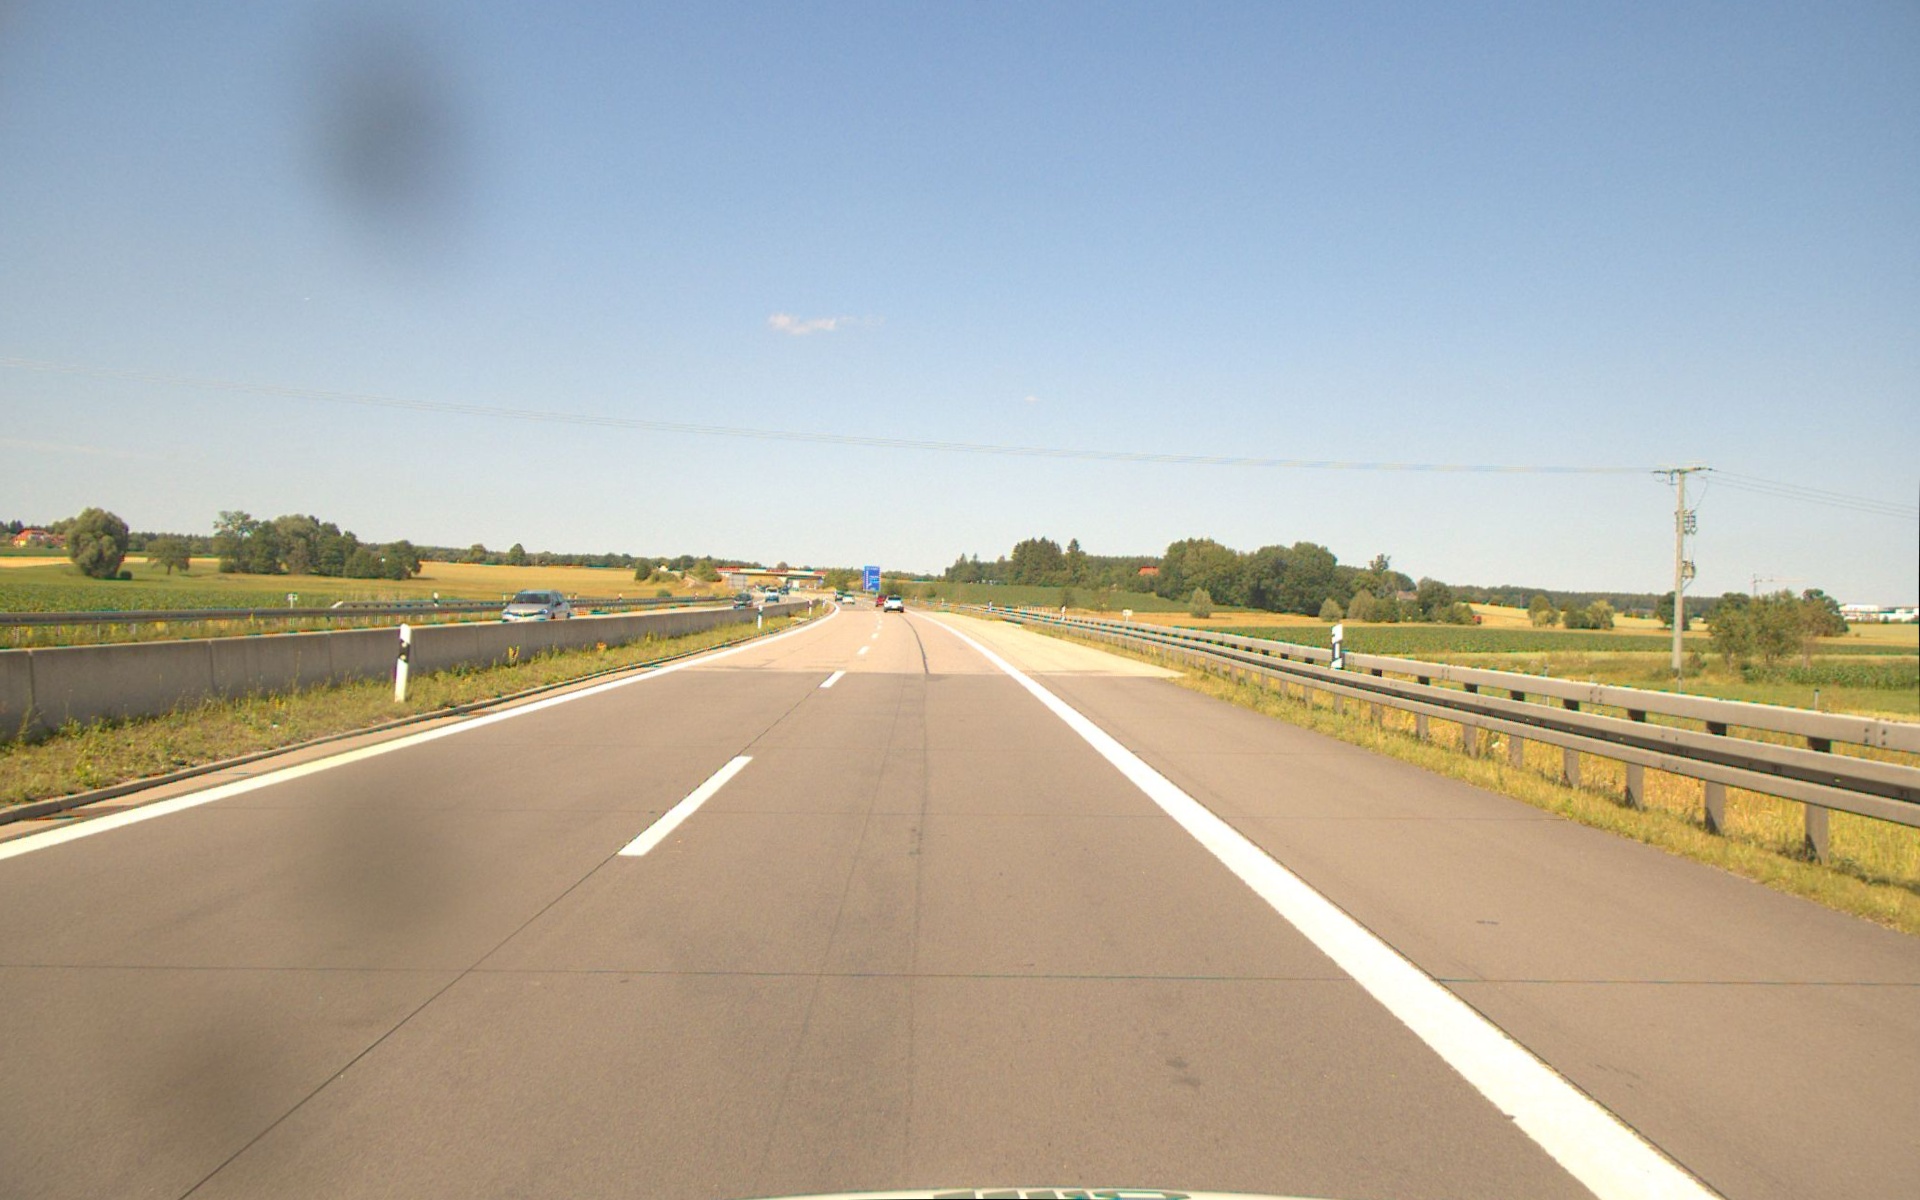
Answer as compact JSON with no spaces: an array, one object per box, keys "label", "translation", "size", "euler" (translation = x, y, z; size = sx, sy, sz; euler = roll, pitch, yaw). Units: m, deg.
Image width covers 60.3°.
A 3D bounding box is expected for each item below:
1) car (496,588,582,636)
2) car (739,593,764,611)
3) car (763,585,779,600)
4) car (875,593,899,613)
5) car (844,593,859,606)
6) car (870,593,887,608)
[{"label":"car","translation":[-15.327,0.421,60.443],"size":[1.953,1.606,4.895],"euler":[2,0,-2]},{"label":"car","translation":[-19.161,0.208,152.042],"size":[1.822,1.540,4.583],"euler":[3,0,-2]},{"label":"car","translation":[-26.462,-0.992,230.927],"size":[1.957,2.049,5.602],"euler":[1,0,-9]},{"label":"car","translation":[-6.909,0.289,156.219],"size":[1.955,1.761,4.863],"euler":[2,0,-6]},{"label":"car","translation":[-15.670,-0.122,239.255],"size":[1.953,1.761,4.867],"euler":[2,0,-2]},{"label":"car","translation":[-10.197,0.011,207.226],"size":[1.954,1.761,4.865],"euler":[2,0,-5]}]
